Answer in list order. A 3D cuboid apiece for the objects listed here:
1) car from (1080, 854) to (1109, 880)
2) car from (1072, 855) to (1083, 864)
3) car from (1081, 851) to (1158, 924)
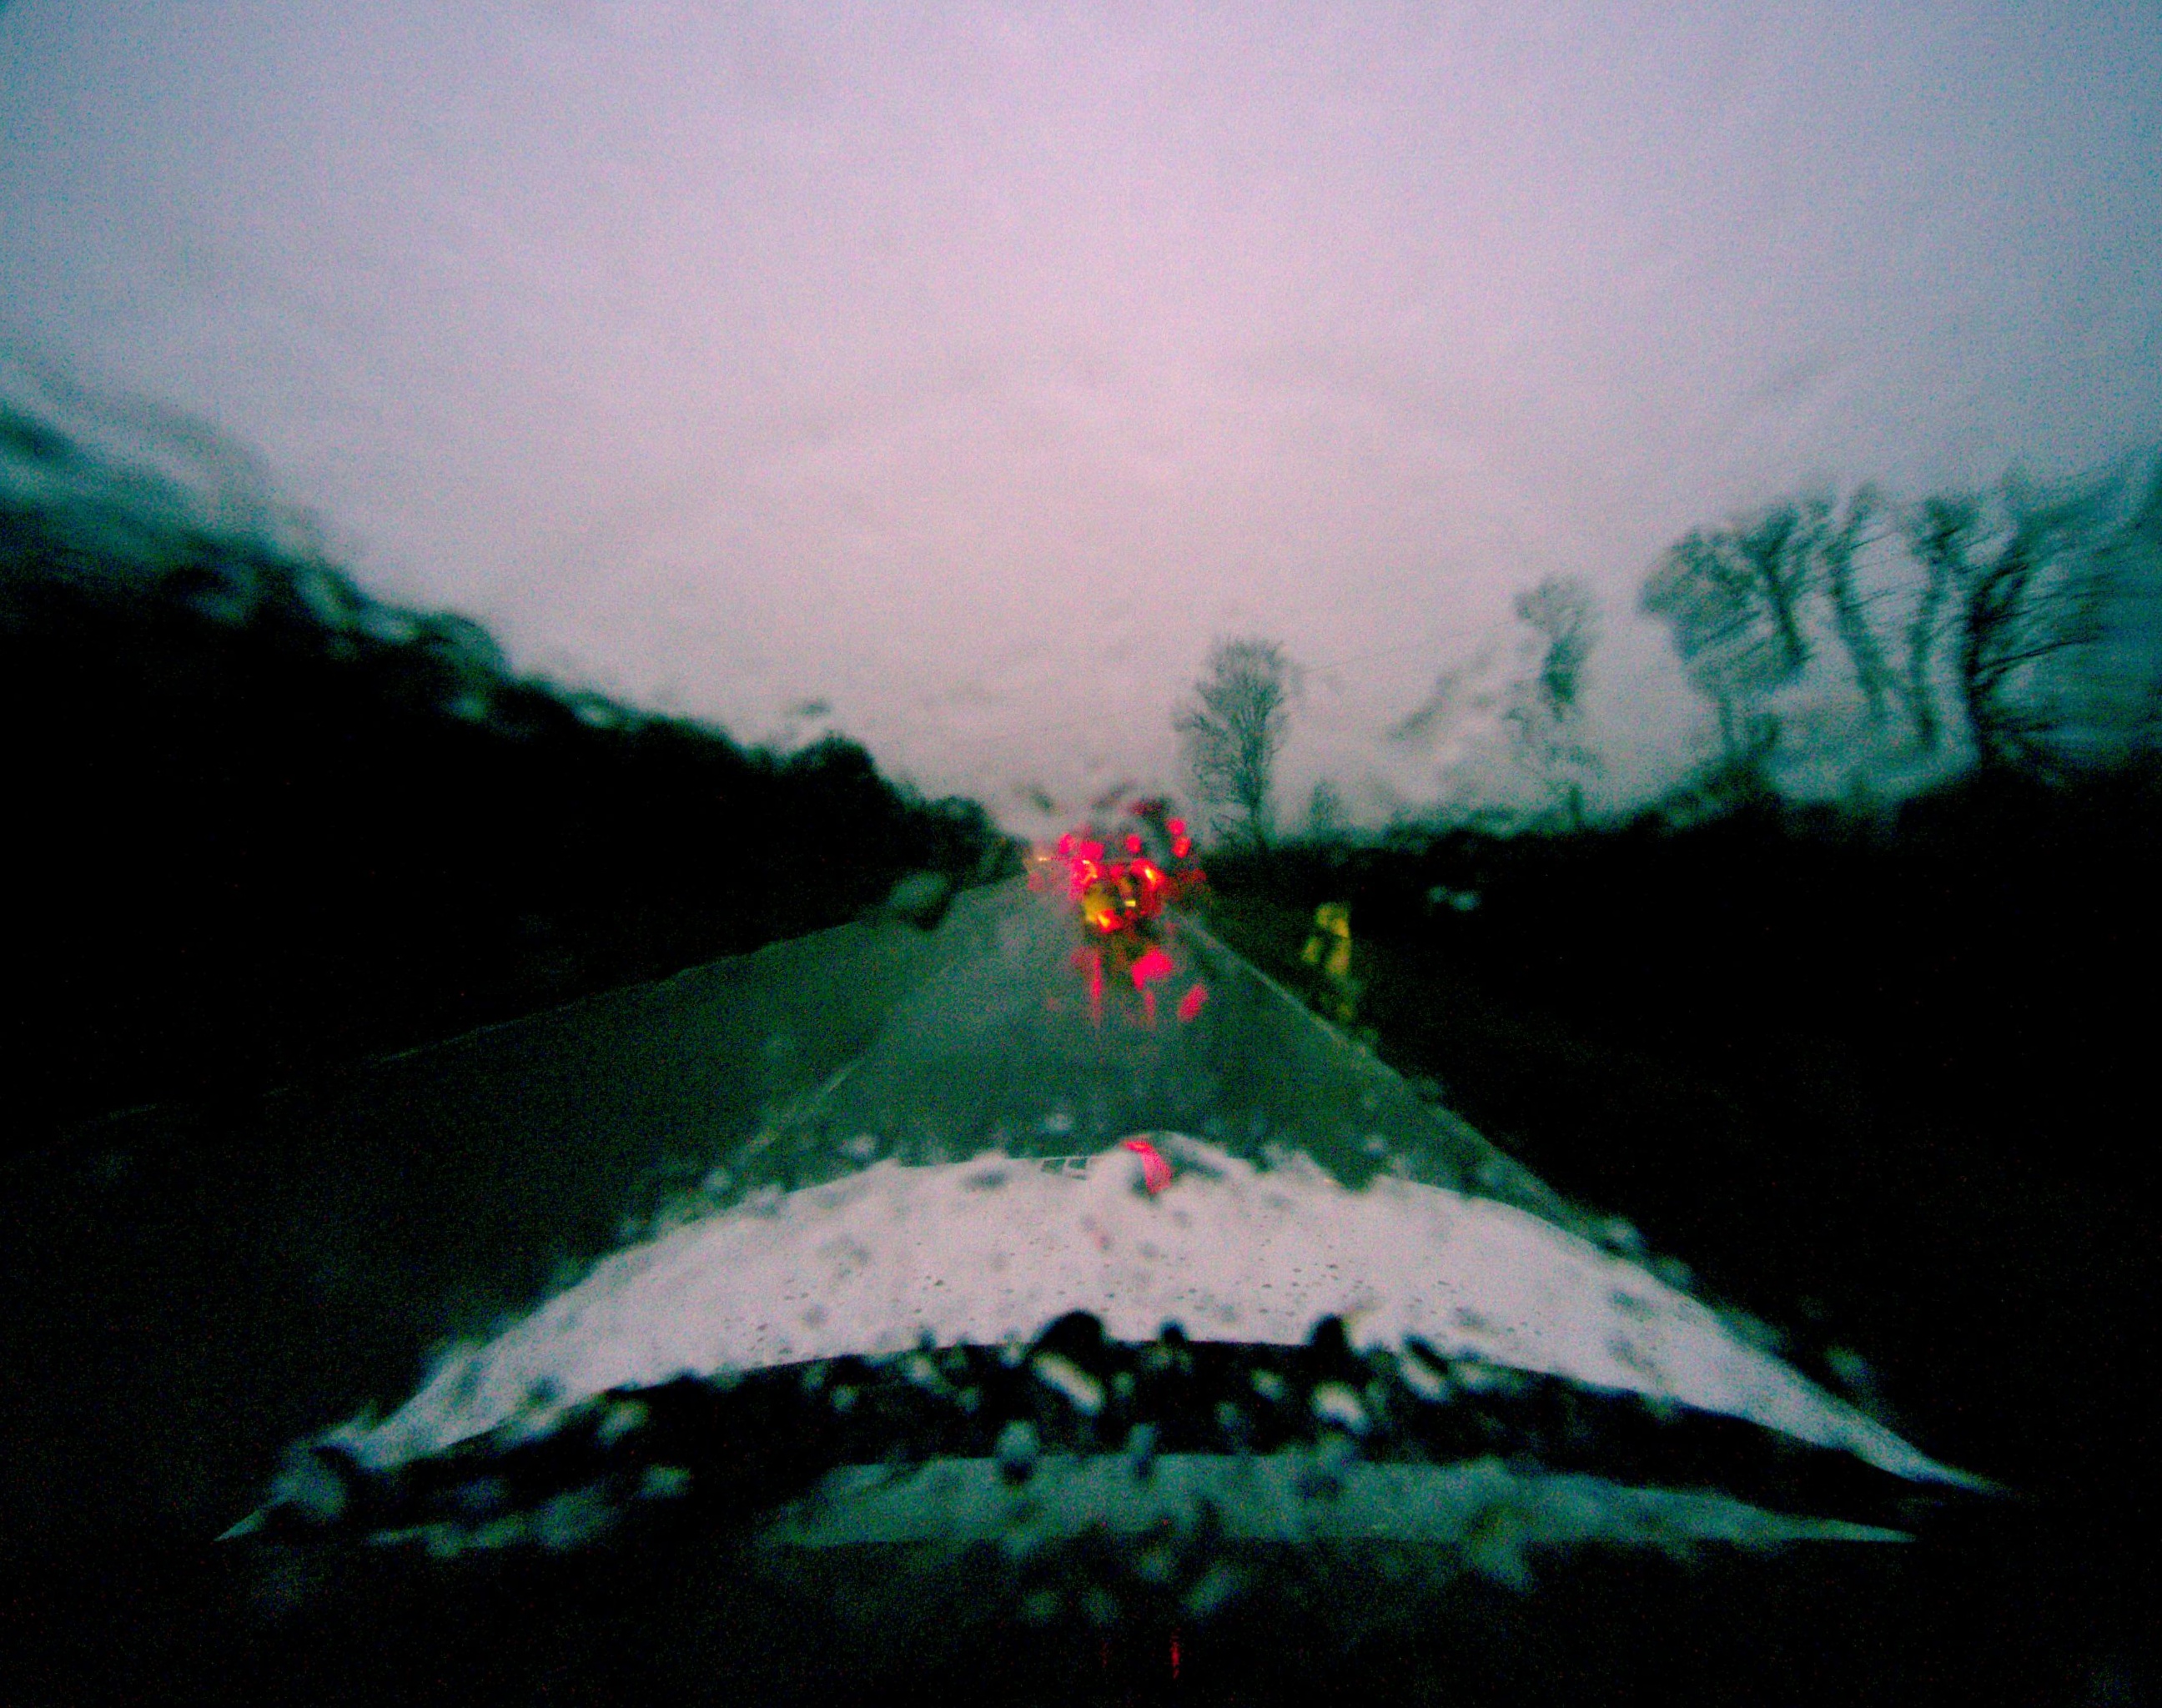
[{"bbox_3d":[0.818,0.722,47.450,1.541,1.396,3.871,-1,0,2],"label":"car"},{"bbox_3d":[-0.611,0.945,141.233,1.539,1.396,3.876,-1,0,6],"label":"car"},{"bbox_3d":[0.867,0.703,19.016,1.596,1.522,3.870,-1,0,1],"label":"car"}]
